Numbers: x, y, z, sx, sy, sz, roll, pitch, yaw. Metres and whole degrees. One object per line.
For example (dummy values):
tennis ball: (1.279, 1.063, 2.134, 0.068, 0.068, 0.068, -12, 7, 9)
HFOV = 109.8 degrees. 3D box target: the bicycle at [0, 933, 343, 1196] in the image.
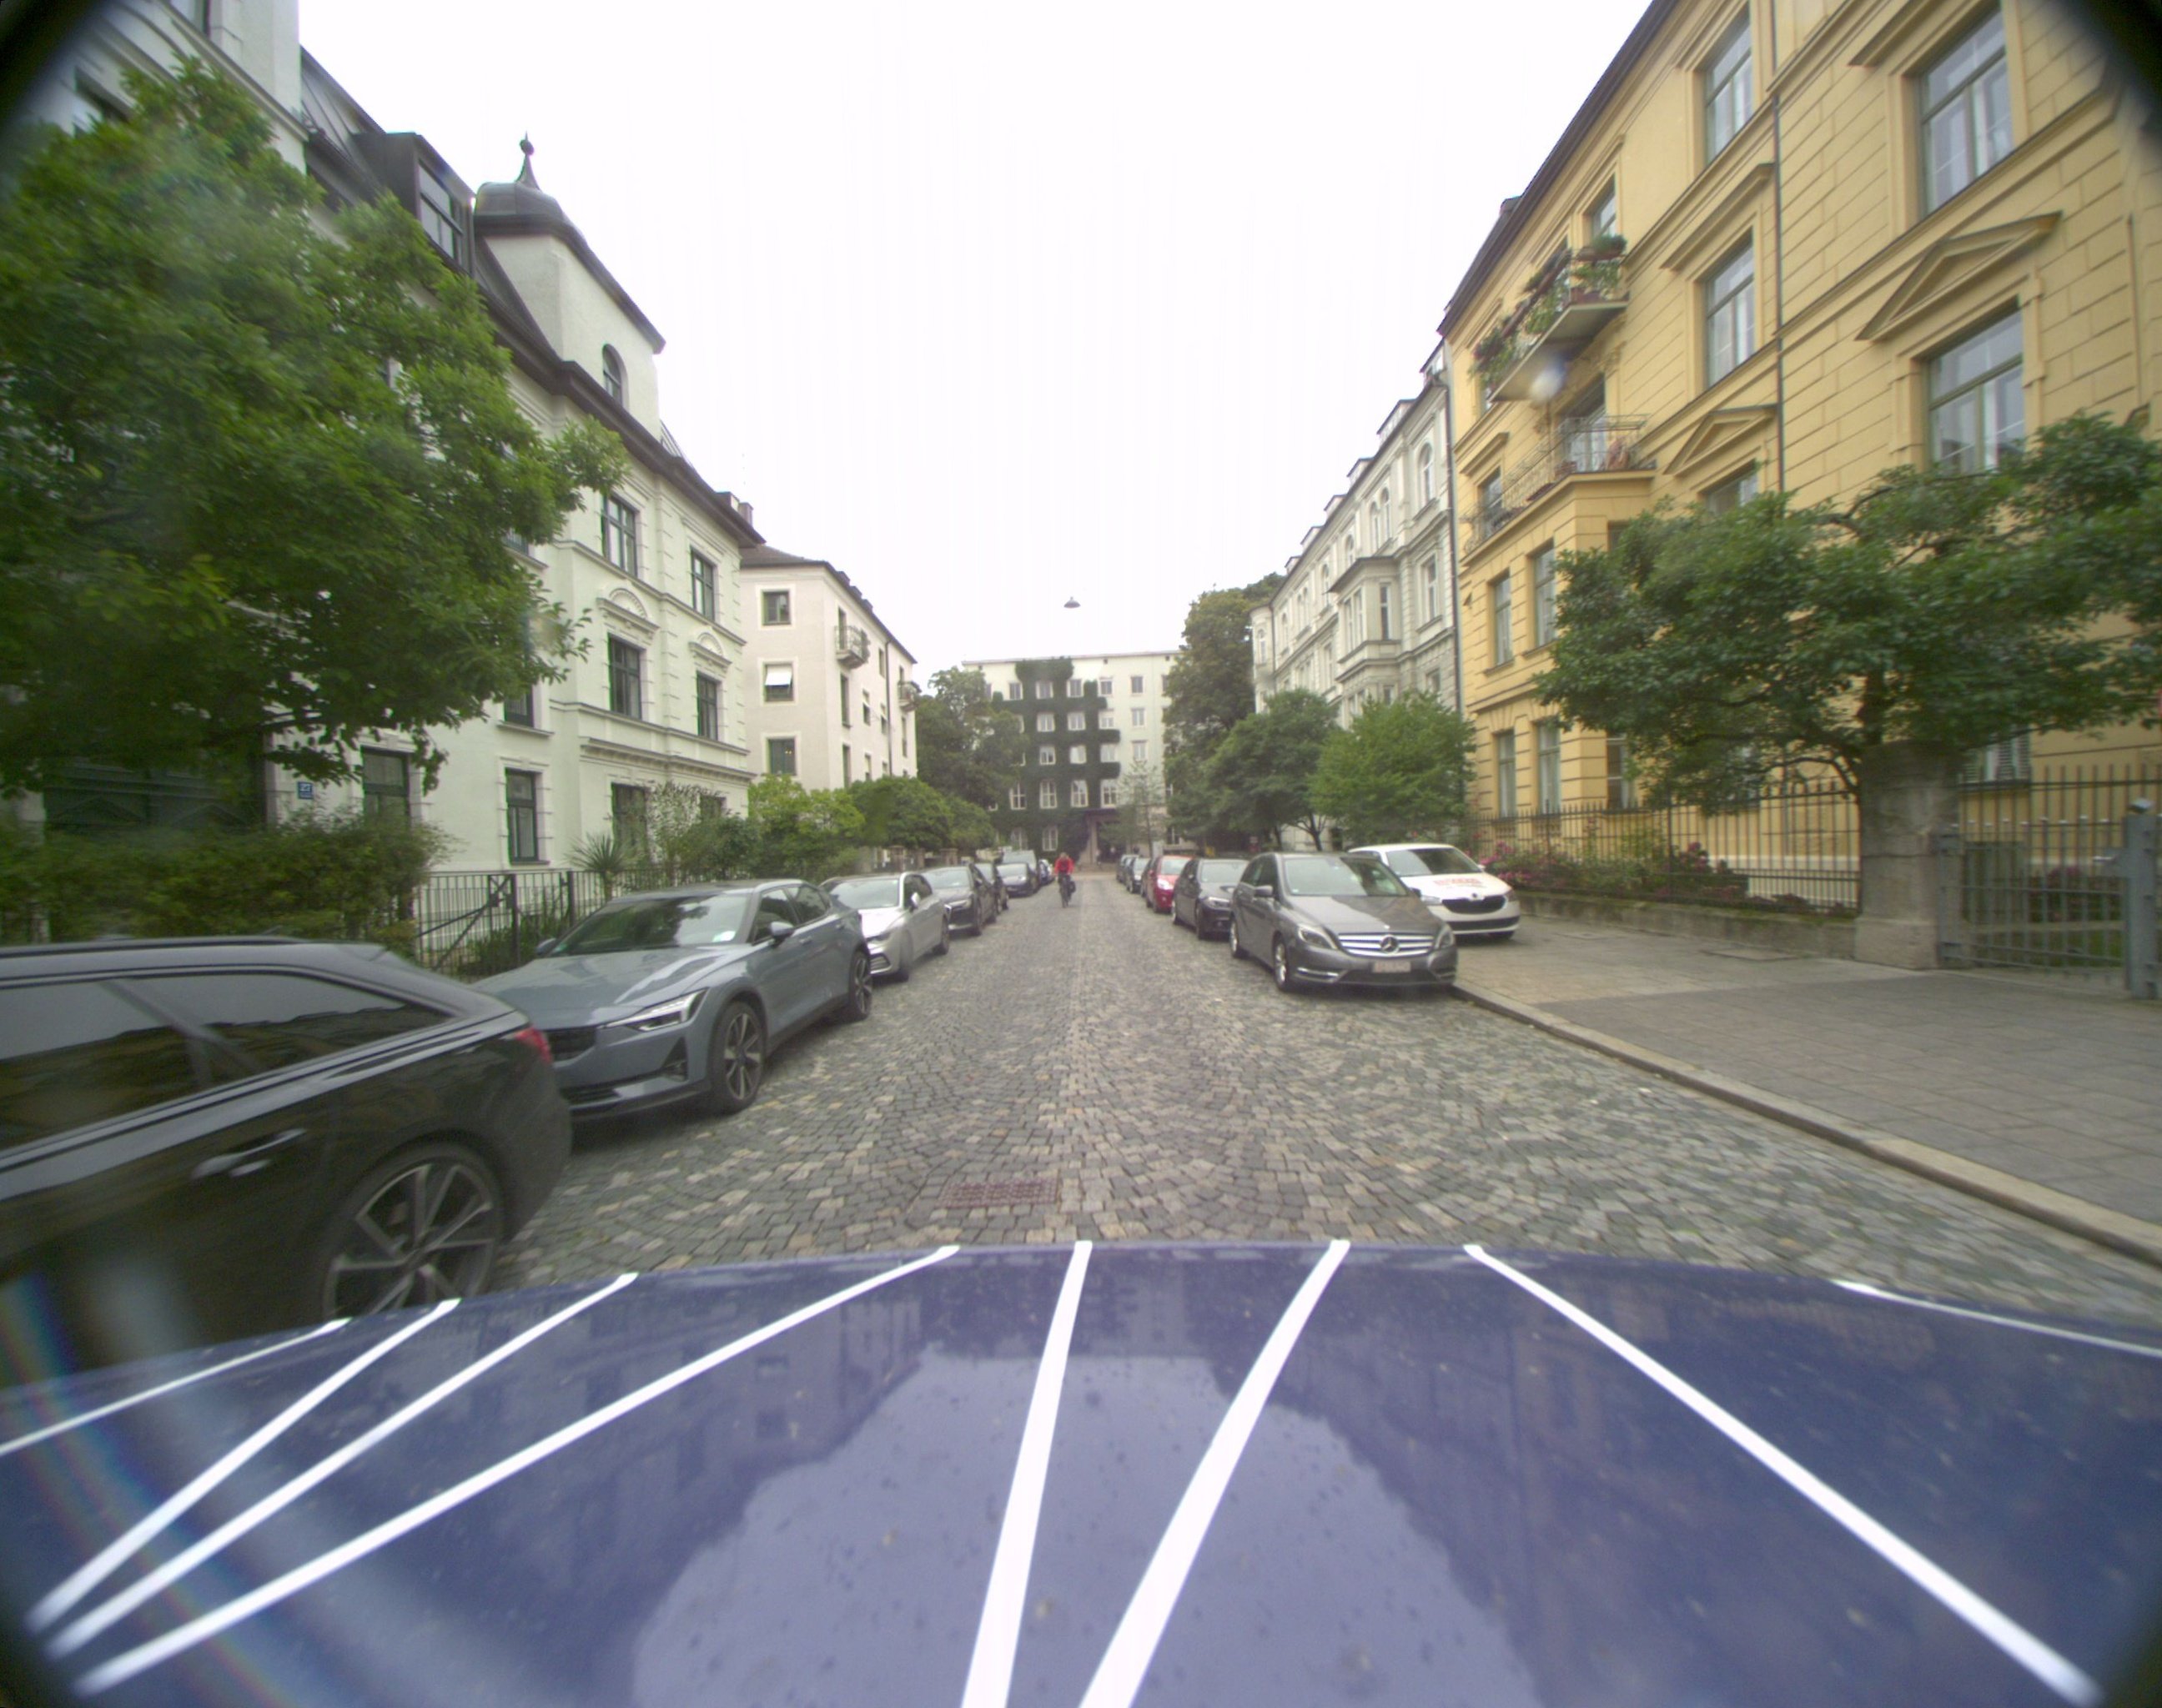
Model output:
bicycle: (-5.663, 1.195, 4.837, 0.582, 1.188, 1.646, -3, 0, -14)

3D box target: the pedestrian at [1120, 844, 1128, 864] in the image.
pedestrian: (4.231, -0.036, 74.784, 0.701, 1.905, 0.863, -4, 1, 3)

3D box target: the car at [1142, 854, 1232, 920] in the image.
car: (2.795, 0.819, 20.893, 1.846, 1.577, 4.191, -1, 0, -1)

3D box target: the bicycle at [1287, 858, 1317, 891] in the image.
bicycle: (7.754, 0.714, 26.684, 0.474, 1.045, 1.759, -5, 1, 1)

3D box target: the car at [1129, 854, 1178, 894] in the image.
car: (2.926, 0.782, 31.578, 1.814, 1.490, 4.510, -1, 0, 3)

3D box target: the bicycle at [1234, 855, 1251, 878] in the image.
bicycle: (8.068, 0.604, 37.977, 0.464, 1.045, 1.695, -5, 1, 1)

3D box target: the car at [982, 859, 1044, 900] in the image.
car: (-2.806, 1.029, 32.298, 1.942, 1.457, 4.532, -4, 0, 3)

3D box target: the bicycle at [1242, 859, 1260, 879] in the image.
bicycle: (8.080, 0.708, 36.195, 0.439, 0.868, 1.790, -5, 1, 1)

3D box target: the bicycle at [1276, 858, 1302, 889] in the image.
bicycle: (7.852, 0.723, 28.793, 0.434, 1.092, 1.790, -5, 1, 1)

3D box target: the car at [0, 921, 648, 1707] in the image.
car: (-2.994, 1.135, 0.941, 1.823, 1.480, 5.049, -5, 0, 1)

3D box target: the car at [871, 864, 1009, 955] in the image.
car: (-2.925, 1.091, 16.990, 1.909, 1.494, 5.105, -5, 0, 1)

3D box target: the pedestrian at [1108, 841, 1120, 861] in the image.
pedestrian: (3.239, -0.324, 74.573, 0.703, 1.905, 0.861, -5, 1, -30)

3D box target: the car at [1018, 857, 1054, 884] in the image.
car: (-2.484, 0.891, 43.054, 1.744, 1.367, 4.181, -1, 0, 1)

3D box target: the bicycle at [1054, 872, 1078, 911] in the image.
bicycle: (-0.447, 1.114, 23.123, 0.636, 1.021, 1.955, -3, 1, 0)

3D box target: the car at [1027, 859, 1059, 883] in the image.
car: (-2.386, 1.049, 48.131, 1.744, 1.367, 4.281, -1, 0, 1)

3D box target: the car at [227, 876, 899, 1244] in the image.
car: (-3.082, 1.074, 6.077, 1.887, 1.480, 4.814, -4, 0, 1)

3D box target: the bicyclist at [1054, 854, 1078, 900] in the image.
bicyclist: (-0.463, 0.701, 23.162, 0.648, 1.350, 0.656, -3, 1, 0)

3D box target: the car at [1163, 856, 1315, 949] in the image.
car: (2.896, 0.806, 15.107, 1.875, 1.461, 5.133, -1, 0, -1)

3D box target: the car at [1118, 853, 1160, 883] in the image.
car: (3.097, 0.709, 41.179, 1.744, 1.490, 4.280, -1, 0, -2)

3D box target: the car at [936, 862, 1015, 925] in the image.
car: (-2.990, 1.074, 22.268, 1.671, 1.499, 3.685, -5, 0, 0)

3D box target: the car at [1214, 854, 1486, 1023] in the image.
car: (2.965, 0.807, 9.407, 1.744, 1.577, 4.191, -1, 0, -2)

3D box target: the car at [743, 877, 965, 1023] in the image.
car: (-3.059, 1.223, 11.331, 1.760, 1.451, 4.480, -4, 0, 1)

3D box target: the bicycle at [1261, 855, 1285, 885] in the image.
bicycle: (7.968, 0.644, 31.597, 0.510, 1.118, 1.790, -5, 1, 1)

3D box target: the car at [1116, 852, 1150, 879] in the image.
car: (3.170, 0.665, 46.602, 1.744, 1.572, 4.281, -1, 0, 0)

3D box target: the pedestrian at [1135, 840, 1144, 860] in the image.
pedestrian: (5.740, -0.374, 74.560, 0.665, 1.905, 0.863, -4, 1, 9)

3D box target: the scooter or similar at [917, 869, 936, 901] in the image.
scooter or similar: (-6.194, 1.223, 30.486, 0.444, 1.209, 1.470, 3, 1, -3)

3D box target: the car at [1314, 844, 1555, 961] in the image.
car: (5.359, 0.635, 12.263, 1.846, 1.457, 4.389, -3, 0, 1)

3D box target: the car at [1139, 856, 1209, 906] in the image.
car: (3.120, 0.862, 26.435, 1.822, 1.500, 4.642, 1, 1, 0)

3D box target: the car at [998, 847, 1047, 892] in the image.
car: (-2.832, 0.698, 37.895, 1.999, 1.958, 4.965, -5, 1, -1)
